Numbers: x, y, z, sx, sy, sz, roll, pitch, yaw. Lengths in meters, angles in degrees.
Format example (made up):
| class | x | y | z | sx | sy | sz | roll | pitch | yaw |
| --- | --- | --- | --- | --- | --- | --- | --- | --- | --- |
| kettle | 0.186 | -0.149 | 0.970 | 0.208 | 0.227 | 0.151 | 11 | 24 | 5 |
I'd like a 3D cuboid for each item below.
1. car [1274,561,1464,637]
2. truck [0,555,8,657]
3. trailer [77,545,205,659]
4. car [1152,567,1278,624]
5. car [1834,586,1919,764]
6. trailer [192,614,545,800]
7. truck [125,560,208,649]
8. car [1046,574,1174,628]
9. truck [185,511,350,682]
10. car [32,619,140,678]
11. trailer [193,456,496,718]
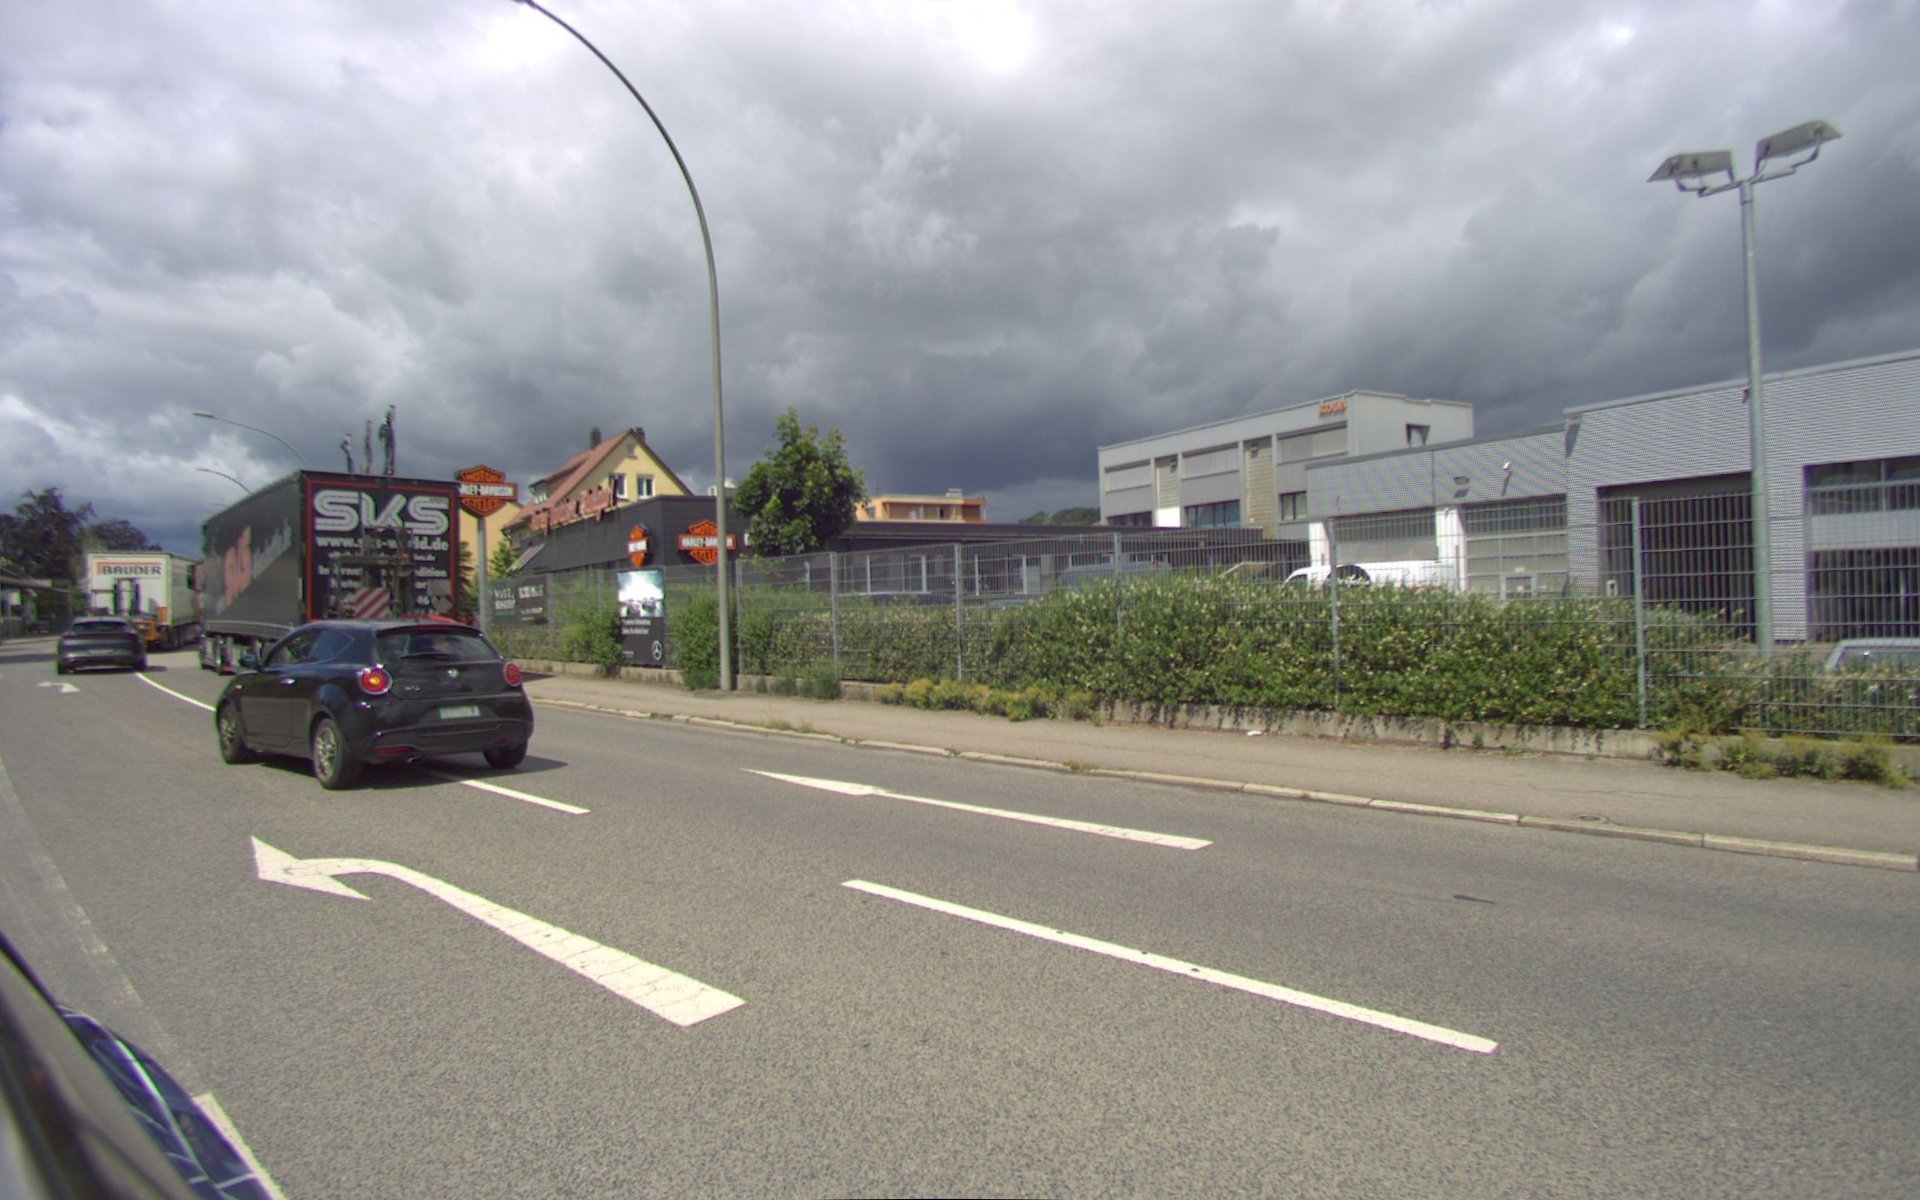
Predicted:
| class | x | y | z | sx | sy | sz | roll | pitch | yaw |
| --- | --- | --- | --- | --- | --- | --- | --- | --- | --- |
| car | 11.247 | -0.044 | 28.180 | 1.755 | 1.914 | 4.743 | -2 | 1 | -34 |
| truck | -34.960 | 0.221 | 34.452 | 2.624 | 3.840 | 9.836 | -2 | 1 | -37 |
| trailer | -35.293 | 0.088 | 44.172 | 2.734 | 4.176 | 15.392 | -2 | 1 | -33 |
| car | 9.559 | -0.182 | 38.211 | 1.967 | 2.029 | 4.349 | -2 | 1 | -35 |
| car | 9.487 | 0.594 | 9.511 | 1.685 | 1.404 | 3.817 | -1 | 1 | 38 |
| trailer | -5.819 | 0.884 | 9.780 | 3.995 | 1.434 | 1.631 | -2 | -1 | 39 |
| truck | -39.512 | 0.194 | 50.529 | 2.734 | 4.150 | 5.000 | -2 | 0 | -33 |
| car | 4.862 | 0.016 | 33.240 | 1.699 | 1.617 | 4.160 | -2 | 1 | -36 |
| truck | -18.981 | -0.075 | 27.558 | 2.765 | 4.083 | 6.509 | -2 | 1 | -42 |
| car | -23.741 | 1.252 | 27.437 | 4.254 | 1.474 | 1.819 | -1 | -1 | 44 |
| trailer | -14.371 | -0.152 | 22.439 | 2.765 | 4.083 | 15.574 | -2 | 1 | -42 |
